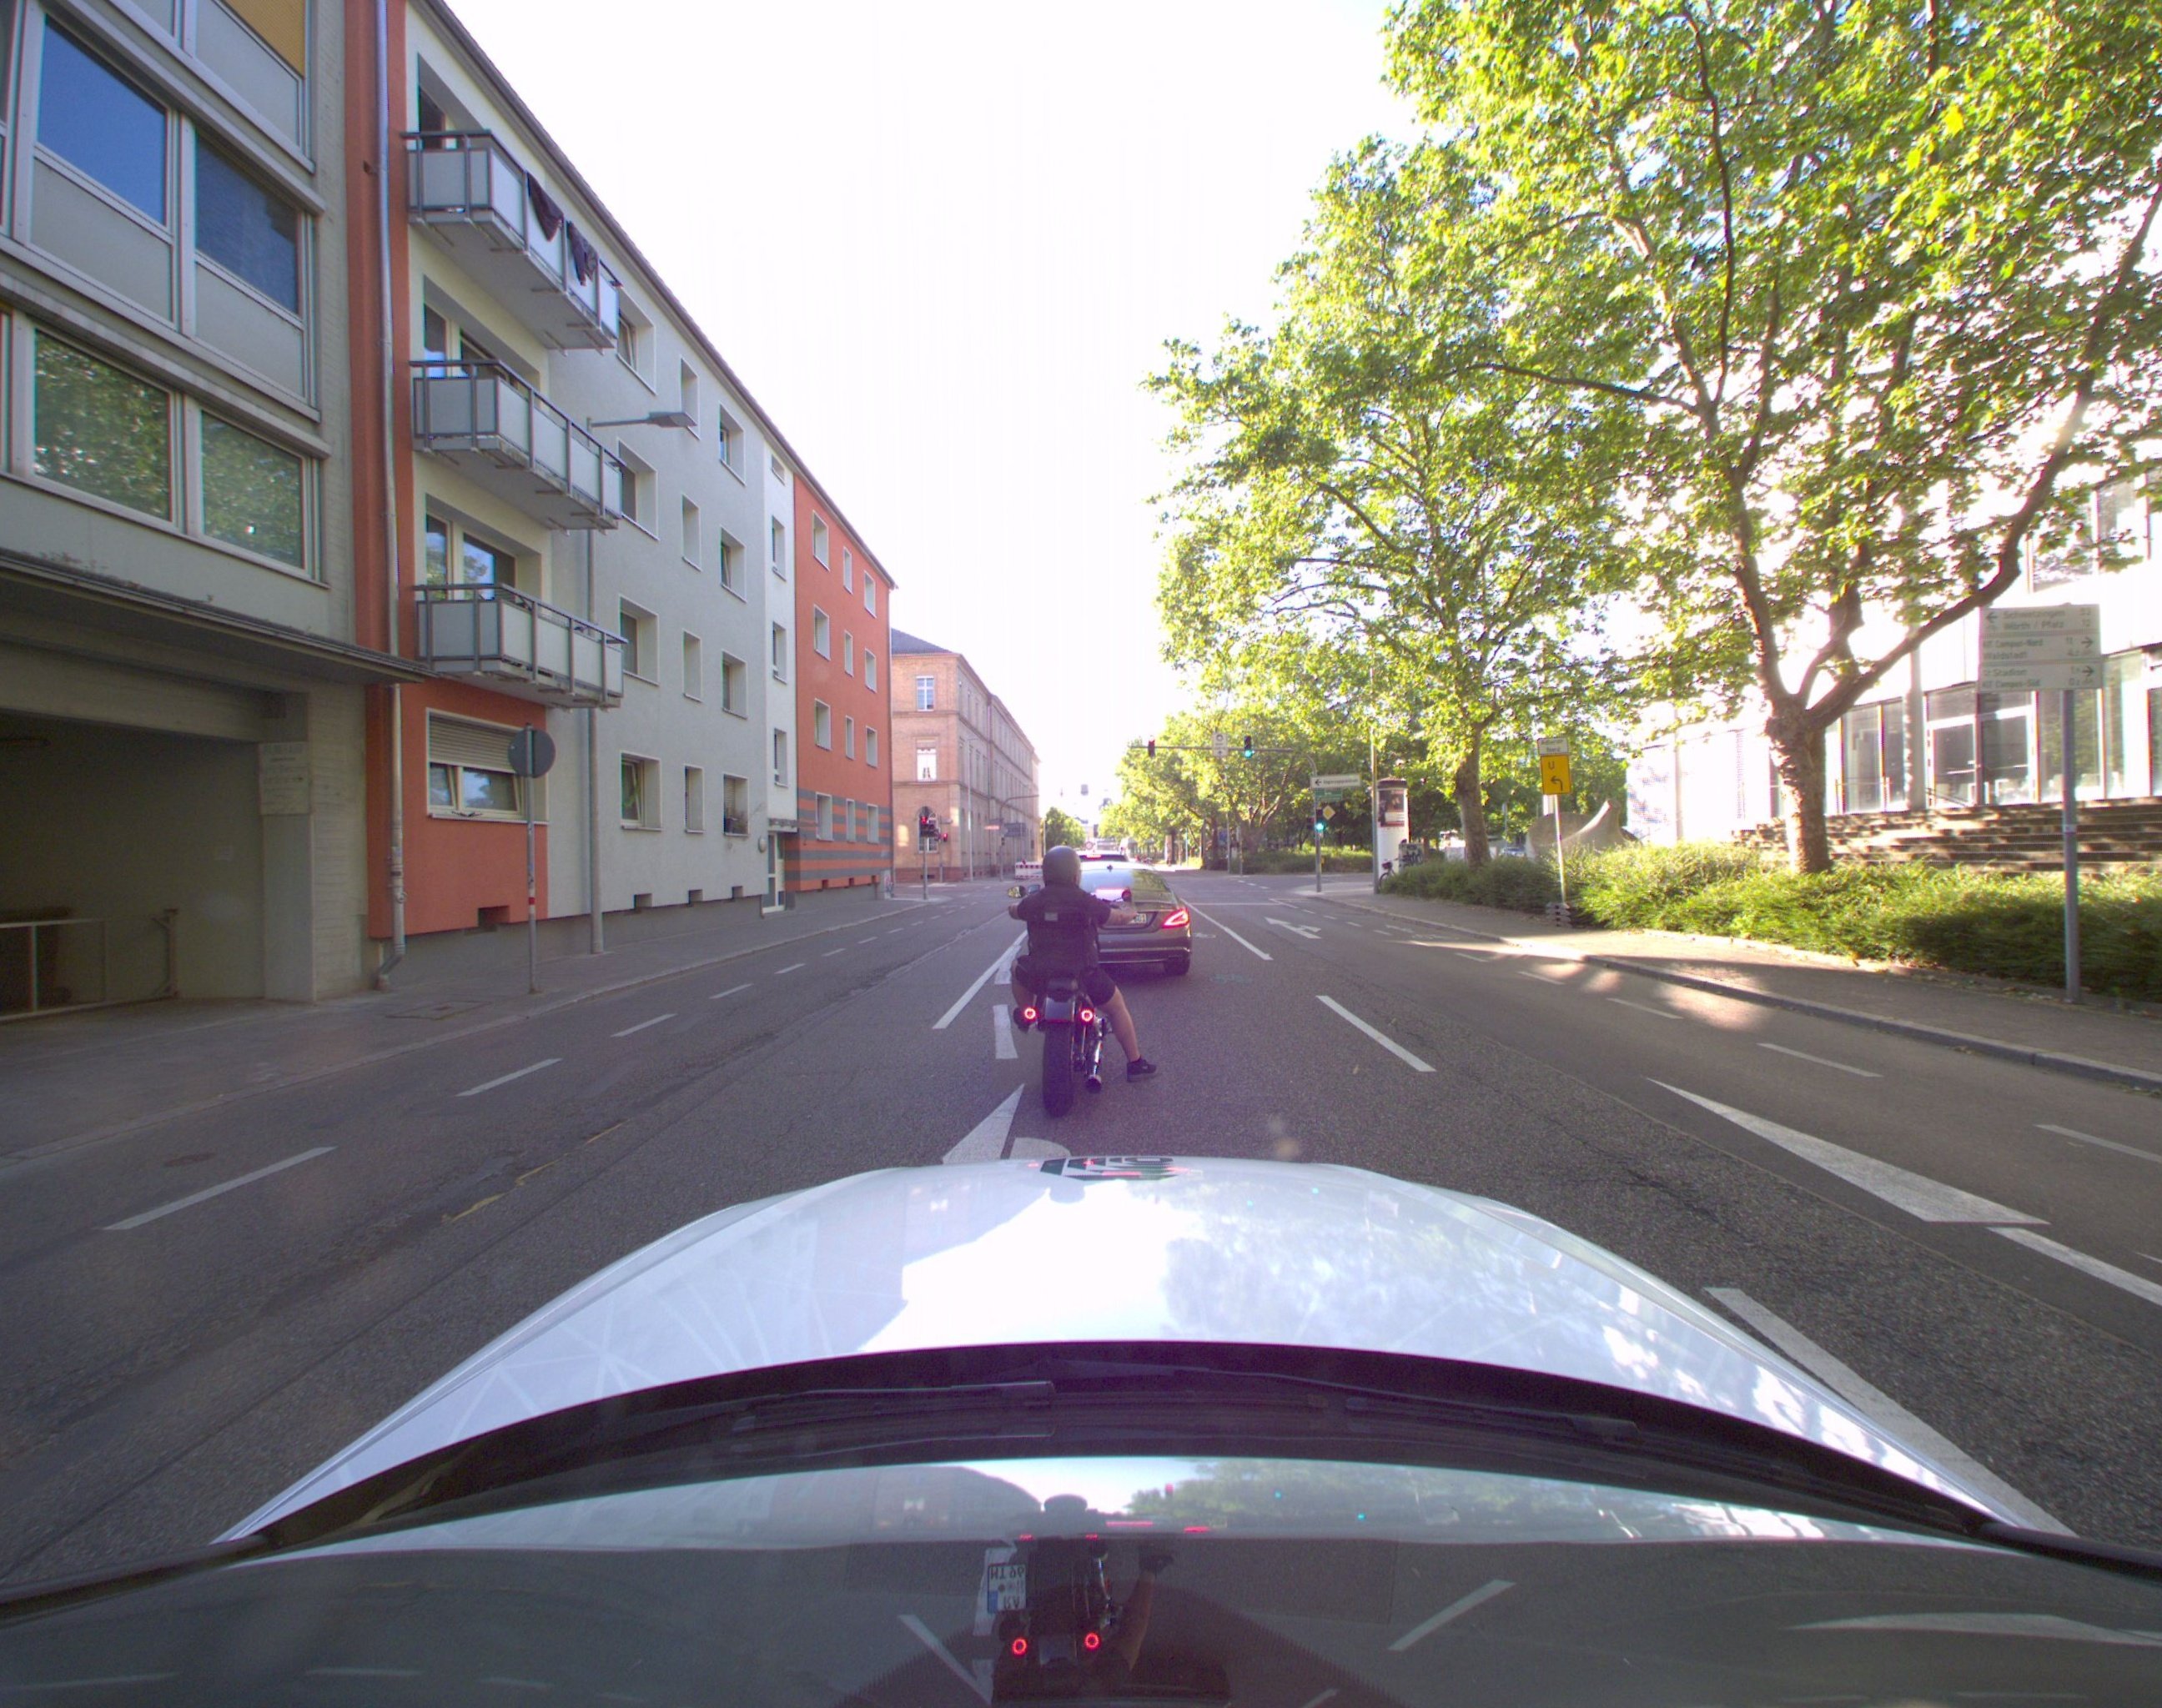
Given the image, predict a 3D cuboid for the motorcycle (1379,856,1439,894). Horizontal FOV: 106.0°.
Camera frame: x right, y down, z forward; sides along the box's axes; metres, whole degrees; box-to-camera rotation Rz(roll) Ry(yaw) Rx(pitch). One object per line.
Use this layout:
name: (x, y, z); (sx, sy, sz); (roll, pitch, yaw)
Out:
motorcycle: (11.076, 0.712, 27.556); (1.771, 1.243, 0.724); (0, -1, 7)

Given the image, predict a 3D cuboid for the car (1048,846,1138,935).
car: (0.291, 0.691, 17.107); (1.645, 1.652, 4.002); (0, -1, 2)

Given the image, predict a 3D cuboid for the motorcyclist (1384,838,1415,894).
motorcyclist: (10.773, 0.393, 27.580); (0.818, 1.863, 0.673); (0, -1, 7)

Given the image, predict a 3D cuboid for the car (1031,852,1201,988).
car: (0.266, 0.746, 11.256); (1.821, 1.486, 4.325); (0, 0, -5)

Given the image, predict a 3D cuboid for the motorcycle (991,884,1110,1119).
motorcycle: (-0.137, 0.857, 5.553); (0.657, 1.240, 2.058); (0, -1, 2)

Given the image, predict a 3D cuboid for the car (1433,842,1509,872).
car: (24.635, 0.203, 51.534); (3.974, 1.772, 1.738); (-1, 0, -1)

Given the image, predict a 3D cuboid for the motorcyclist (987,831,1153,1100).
motorcyclist: (-0.049, 0.672, 5.461); (0.986, 1.611, 1.121); (0, -1, 1)
